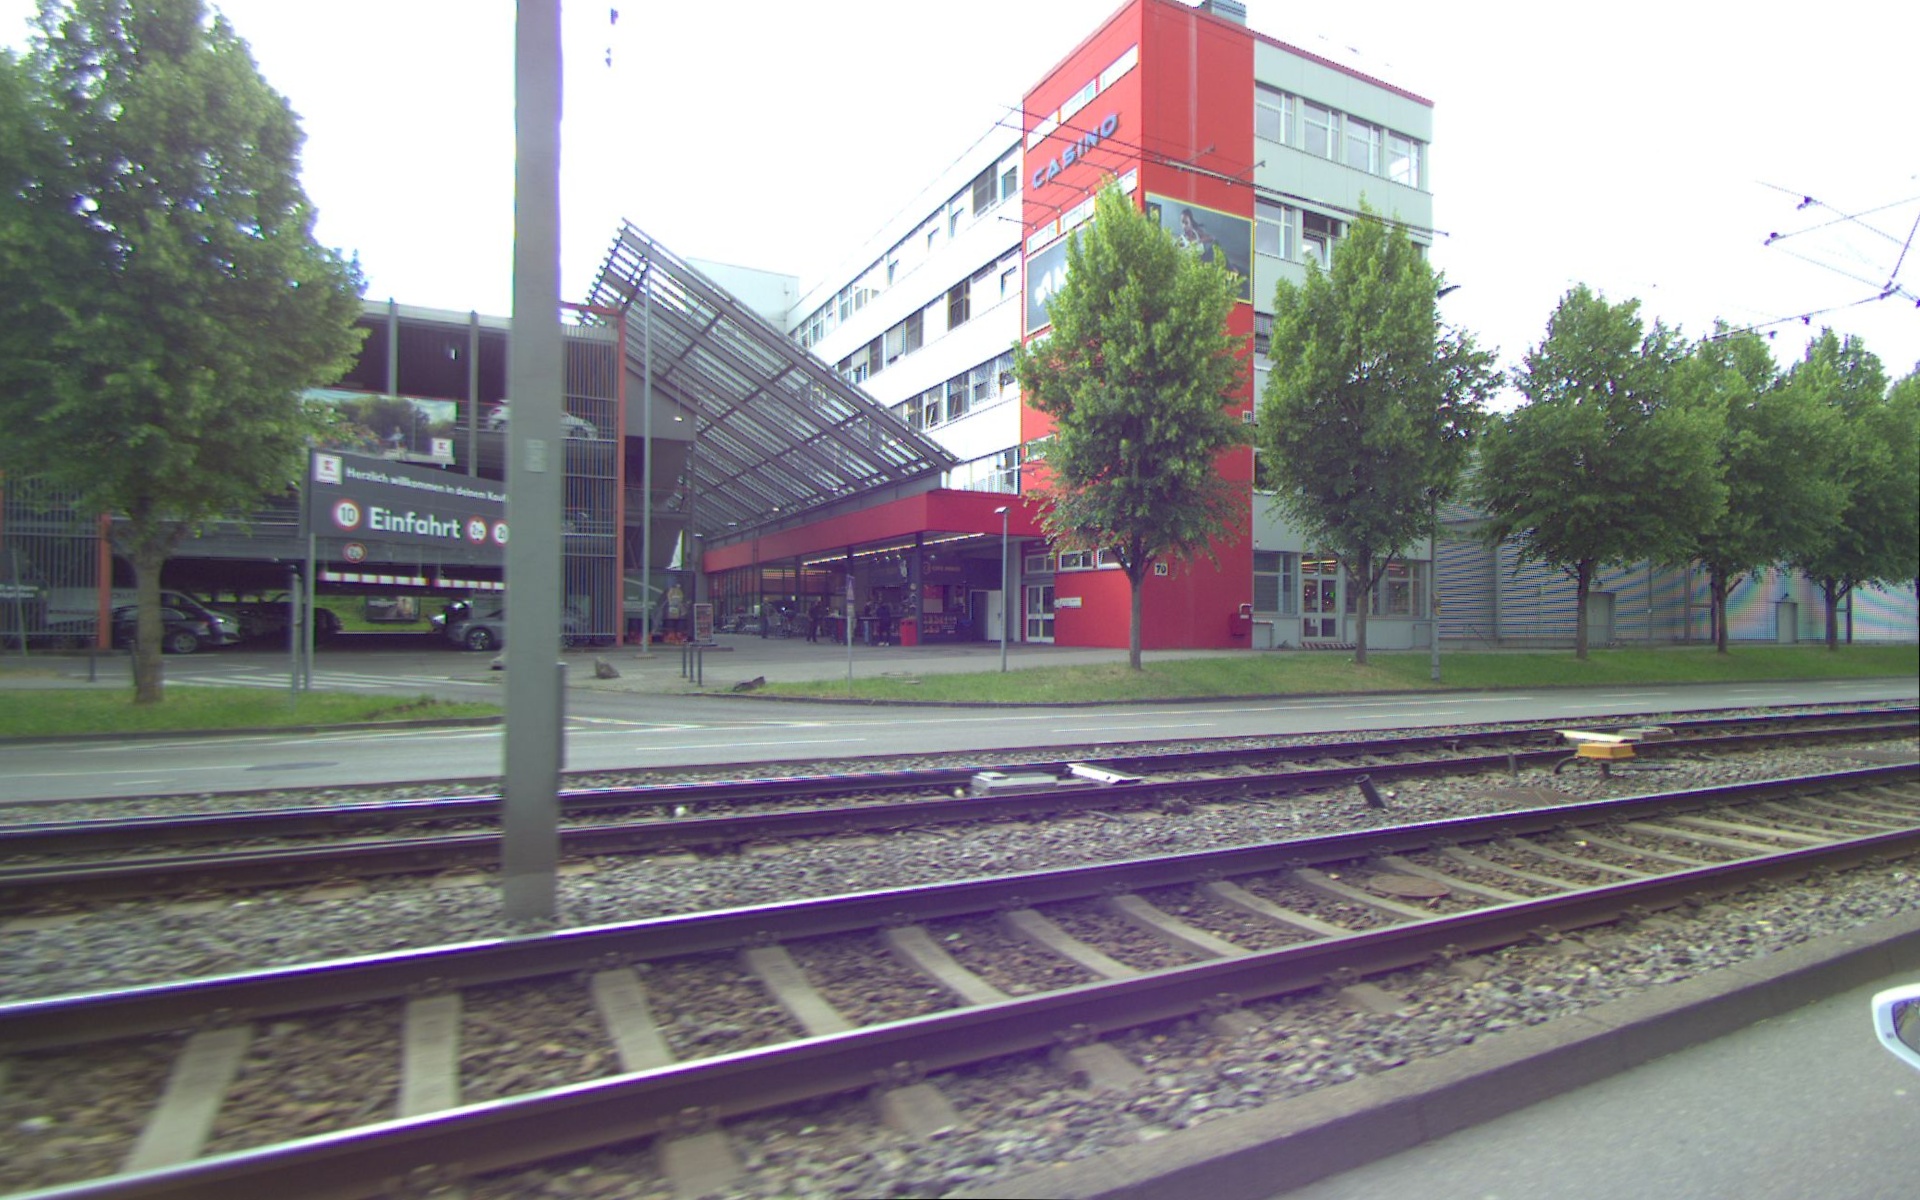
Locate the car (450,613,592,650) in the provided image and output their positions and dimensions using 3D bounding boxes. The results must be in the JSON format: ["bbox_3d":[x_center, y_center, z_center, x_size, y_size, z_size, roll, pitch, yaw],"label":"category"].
[{"bbox_3d":[-15.233,1.093,34.916,4.396,1.243,1.430,1,-1,-29],"label":"car"}]

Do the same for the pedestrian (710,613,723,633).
[{"bbox_3d":[-14.737,1.396,60.777,0.597,1.238,0.595,1,-1,-26],"label":"pedestrian"}]

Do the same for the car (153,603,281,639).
[{"bbox_3d":[-30.093,0.866,40.829,3.953,1.408,1.780,1,-1,-30],"label":"car"}]

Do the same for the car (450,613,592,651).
[{"bbox_3d":[-15.215,1.114,34.901,4.396,1.242,1.448,2,-1,-29],"label":"car"}]

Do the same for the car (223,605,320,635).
[{"bbox_3d":[-35.546,1.033,52.009,3.954,1.407,1.780,3,-2,-30],"label":"car"}]

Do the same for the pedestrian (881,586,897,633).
[{"bbox_3d":[-3.176,0.431,44.831,0.546,2.040,0.599,1,-3,-27],"label":"pedestrian"}]

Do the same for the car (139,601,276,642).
[{"bbox_3d":[-28.948,0.837,38.799,3.954,1.407,1.780,3,-2,-30],"label":"car"}]

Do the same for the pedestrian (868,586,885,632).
[{"bbox_3d":[-3.702,0.403,44.562,0.546,2.040,0.599,1,-3,-27],"label":"pedestrian"}]

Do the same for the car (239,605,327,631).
[{"bbox_3d":[-38.127,1.039,56.686,3.953,1.408,1.780,1,-1,-30],"label":"car"}]

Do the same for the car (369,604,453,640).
[{"bbox_3d":[-27.065,1.111,49.611,3.580,1.677,1.641,2,-3,-29],"label":"car"}]

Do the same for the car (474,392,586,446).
[{"bbox_3d":[-14.991,-6.273,35.051,3.463,1.242,1.448,2,-1,-29],"label":"car"}]

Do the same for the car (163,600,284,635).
[{"bbox_3d":[-31.315,0.755,42.834,3.953,1.408,1.780,1,-1,-30],"label":"car"}]

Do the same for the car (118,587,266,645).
[{"bbox_3d":[-27.739,0.592,36.453,3.954,1.911,1.780,3,-2,-30],"label":"car"}]

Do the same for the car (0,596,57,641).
[{"bbox_3d":[-32.842,0.609,33.543,3.630,1.495,1.666,1,-1,-29],"label":"car"}]

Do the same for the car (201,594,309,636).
[{"bbox_3d":[-32.816,0.703,46.883,3.953,1.886,1.780,1,-1,-30],"label":"car"}]

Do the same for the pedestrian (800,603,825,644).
[{"bbox_3d":[-6.230,1.005,42.500,0.856,1.717,0.734,1,-3,-29],"label":"pedestrian"}]

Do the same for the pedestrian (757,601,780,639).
[{"bbox_3d":[-8.818,0.929,46.283,0.856,1.717,0.734,1,-3,-29],"label":"pedestrian"}]

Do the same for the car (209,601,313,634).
[{"bbox_3d":[-33.864,0.866,48.795,3.954,1.407,1.780,3,-2,-30],"label":"car"}]

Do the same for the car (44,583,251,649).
[{"bbox_3d":[-25.587,0.538,31.882,4.809,1.913,1.666,2,-1,-29],"label":"car"}]
